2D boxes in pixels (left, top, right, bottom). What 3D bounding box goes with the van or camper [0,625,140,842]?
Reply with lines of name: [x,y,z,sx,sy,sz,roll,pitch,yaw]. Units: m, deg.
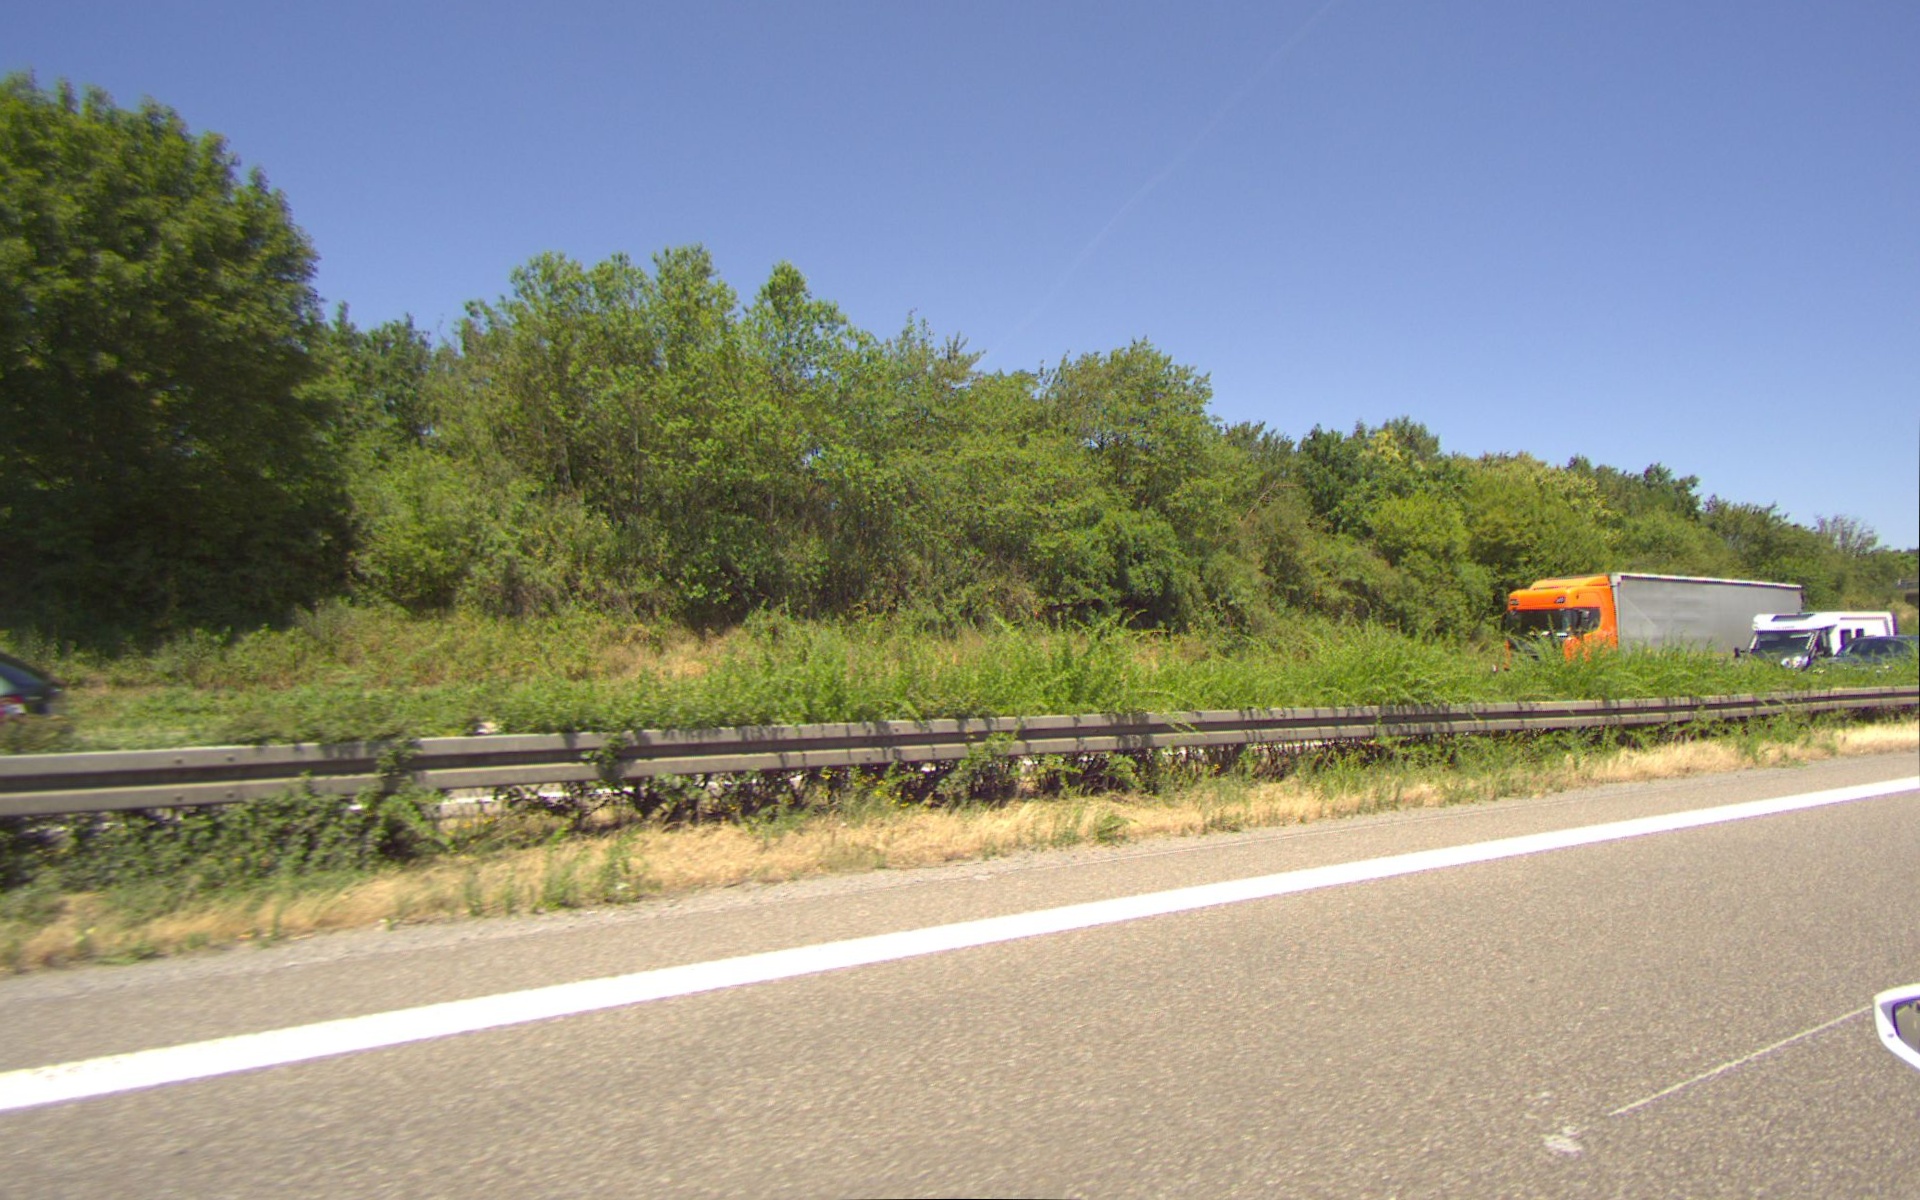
van or camper: [-10.138,1.074,8.197,4.996,1.773,1.985,2,-2,-29]

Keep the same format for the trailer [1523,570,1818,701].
trailer: [27.055,1.363,37.835,14.302,4.305,3.131,2,0,-29]

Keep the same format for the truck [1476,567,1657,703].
truck: [20.706,1.165,34.290,5.113,4.287,3.123,2,0,-29]

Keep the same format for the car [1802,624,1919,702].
car: [25.522,1.690,27.742,5.130,1.932,1.864,2,0,-30]

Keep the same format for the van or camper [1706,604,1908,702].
van or camper: [28.879,1.773,34.156,7.762,3.006,2.602,2,0,-29]
